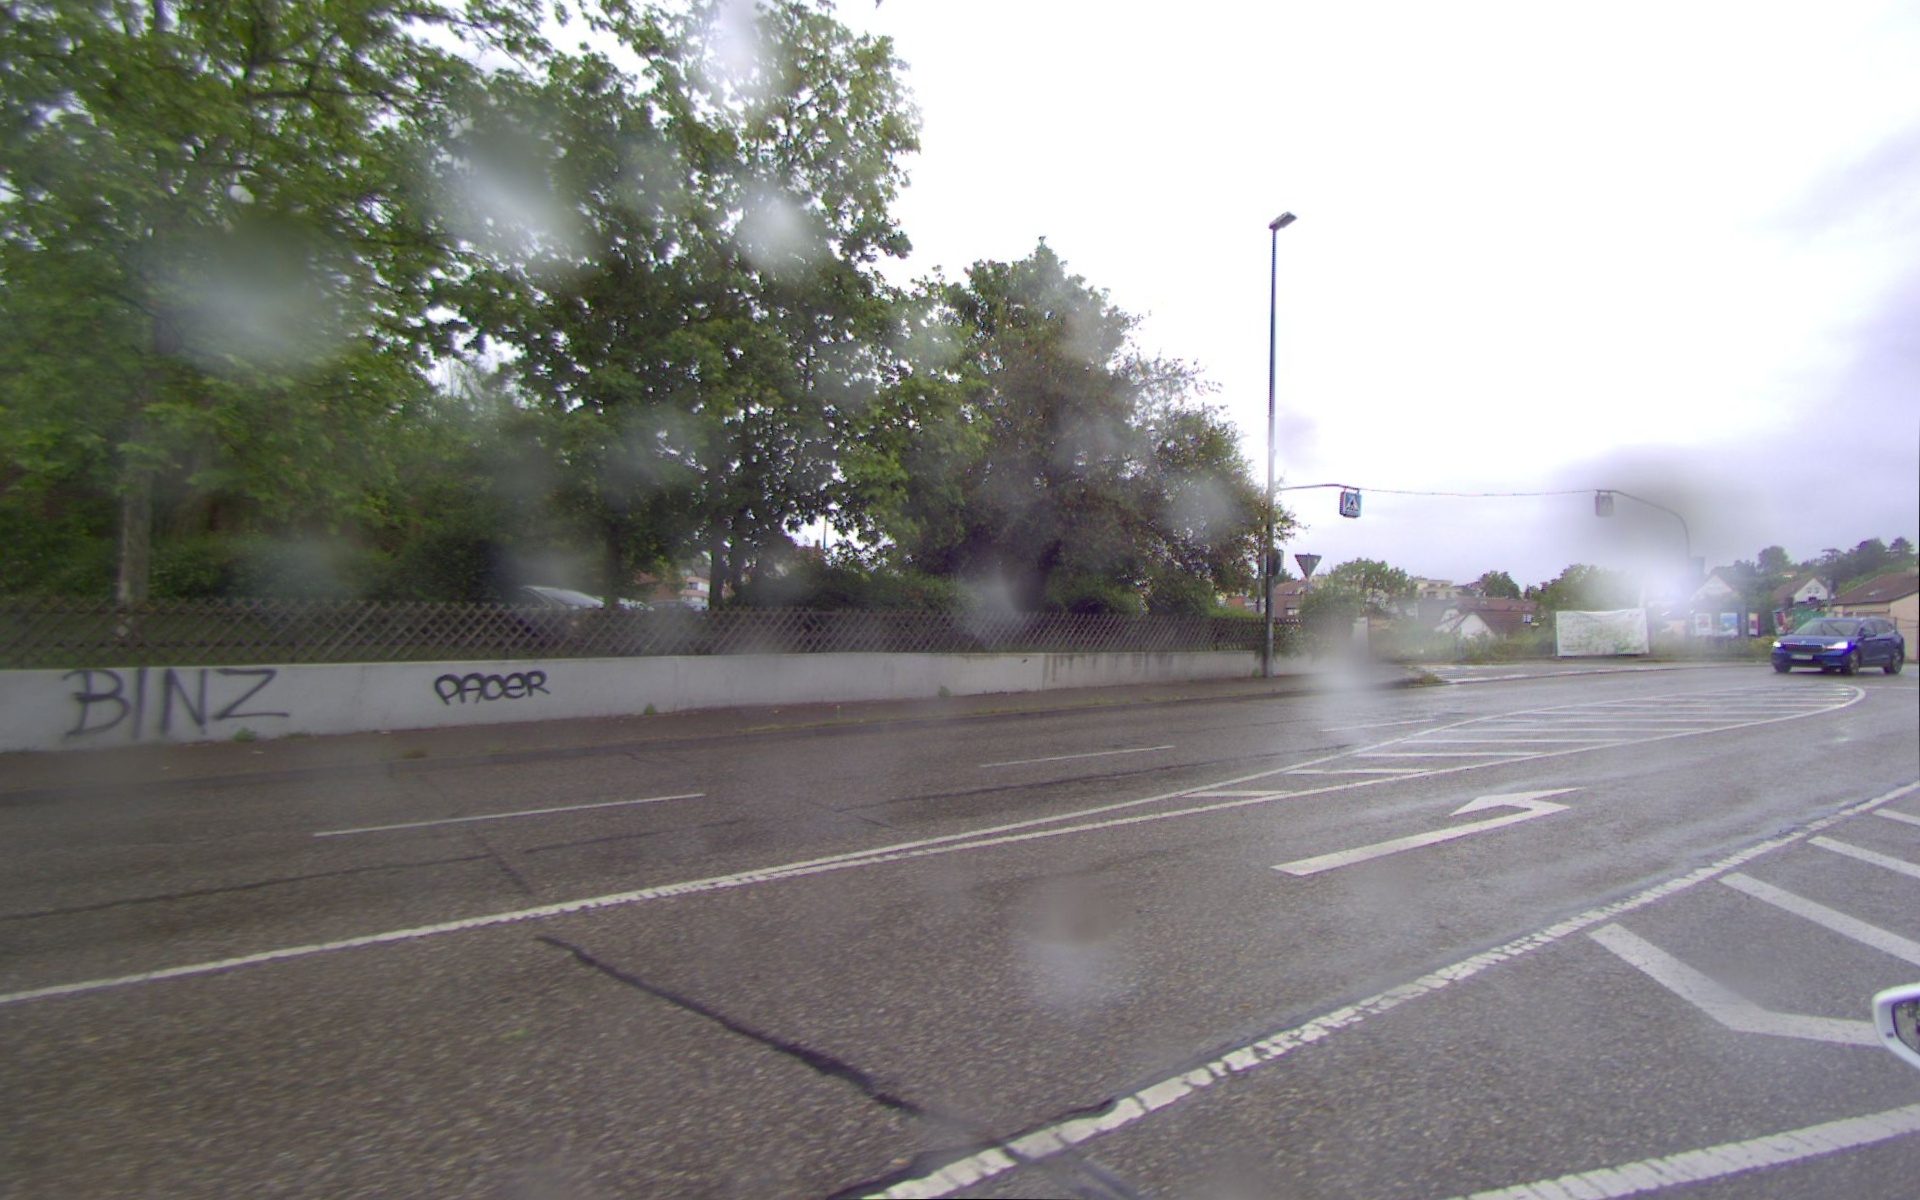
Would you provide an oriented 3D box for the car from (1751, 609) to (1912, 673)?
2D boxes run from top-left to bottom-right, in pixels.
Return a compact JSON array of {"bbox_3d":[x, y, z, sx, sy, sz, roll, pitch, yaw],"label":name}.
[{"bbox_3d":[25.835,1.226,29.765,4.645,1.715,1.986,3,-1,-27],"label":"car"}]
